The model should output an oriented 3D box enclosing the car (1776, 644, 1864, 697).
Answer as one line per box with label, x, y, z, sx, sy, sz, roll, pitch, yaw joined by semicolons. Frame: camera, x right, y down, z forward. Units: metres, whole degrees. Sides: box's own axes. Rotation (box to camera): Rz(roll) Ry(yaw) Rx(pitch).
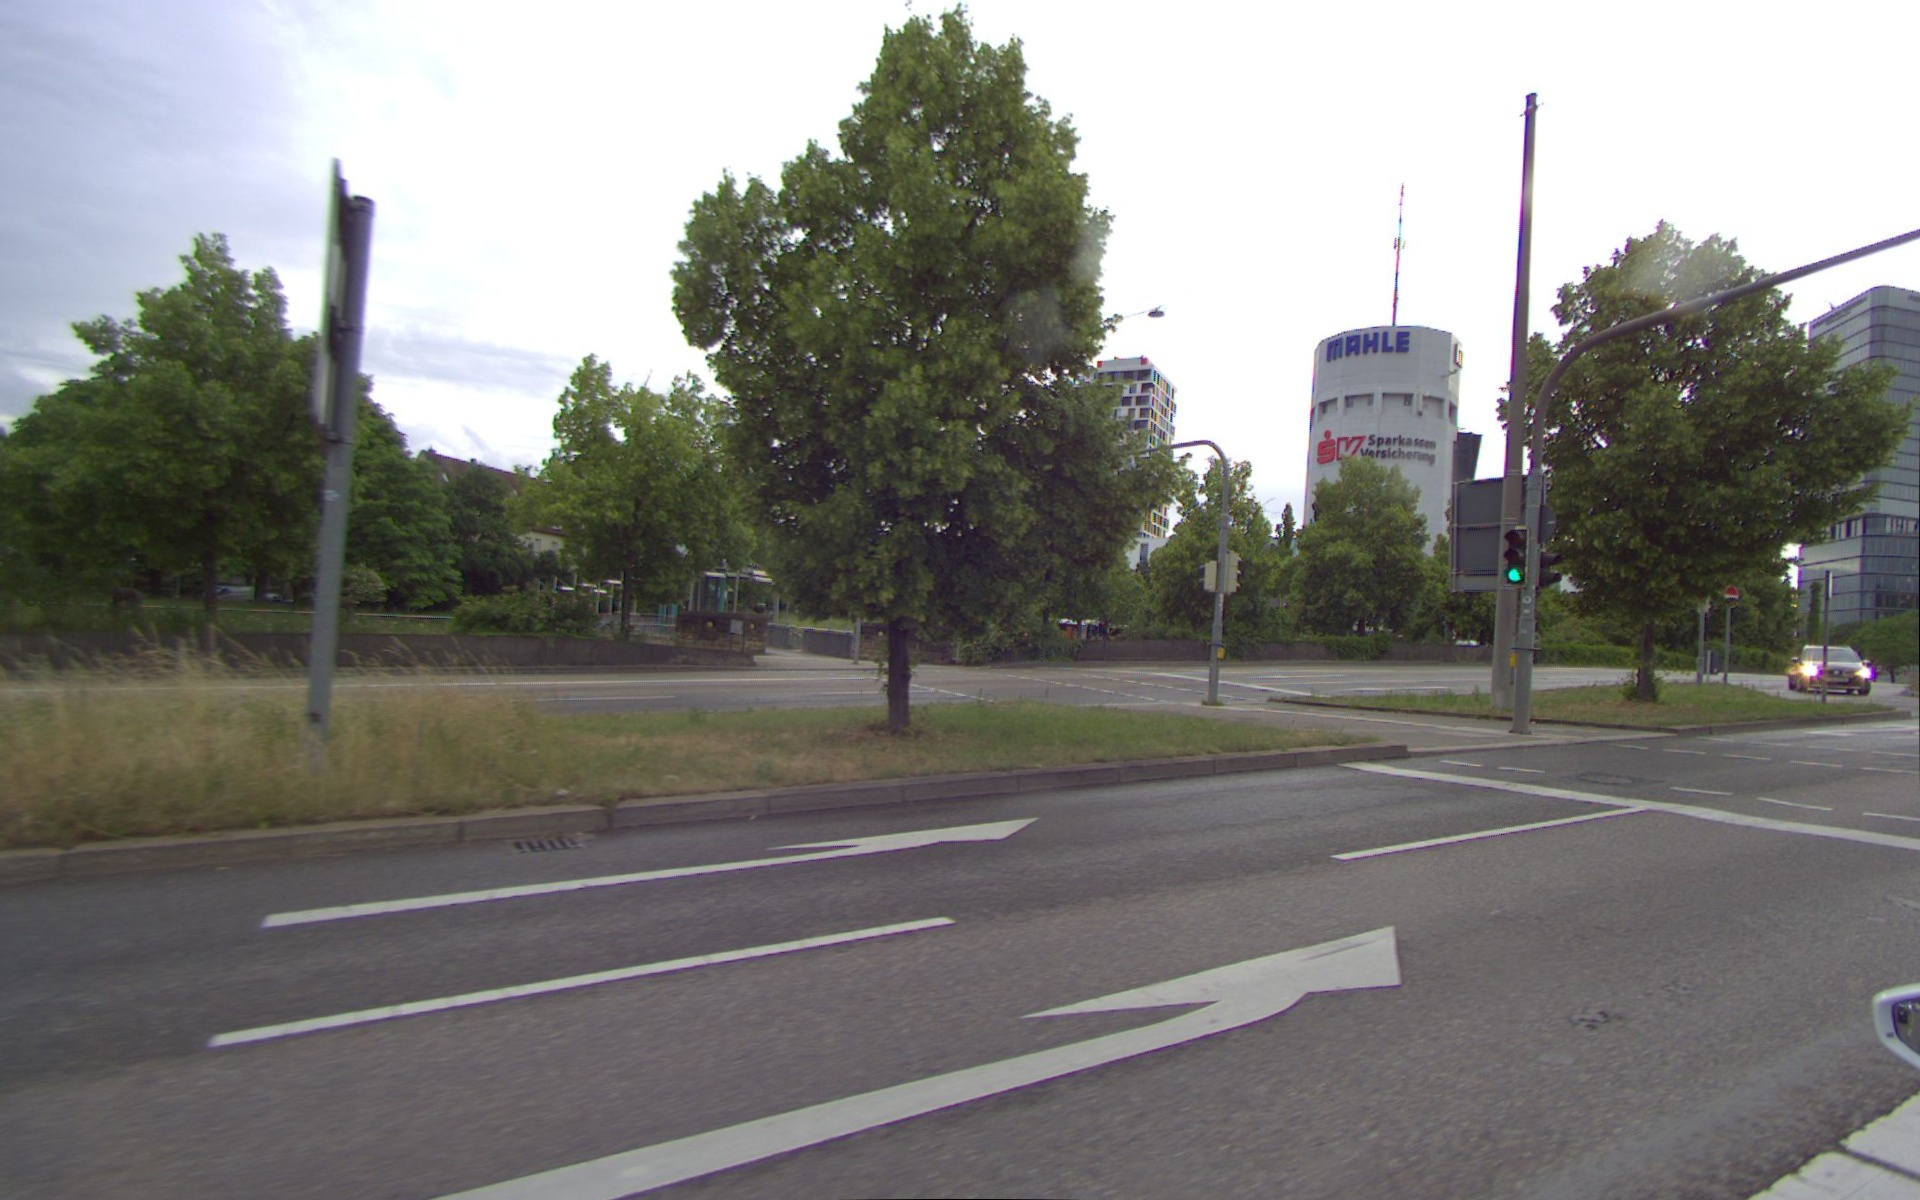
car;27.138;2.184;31.805;1.866;1.527;3.985;-1;-3;37
